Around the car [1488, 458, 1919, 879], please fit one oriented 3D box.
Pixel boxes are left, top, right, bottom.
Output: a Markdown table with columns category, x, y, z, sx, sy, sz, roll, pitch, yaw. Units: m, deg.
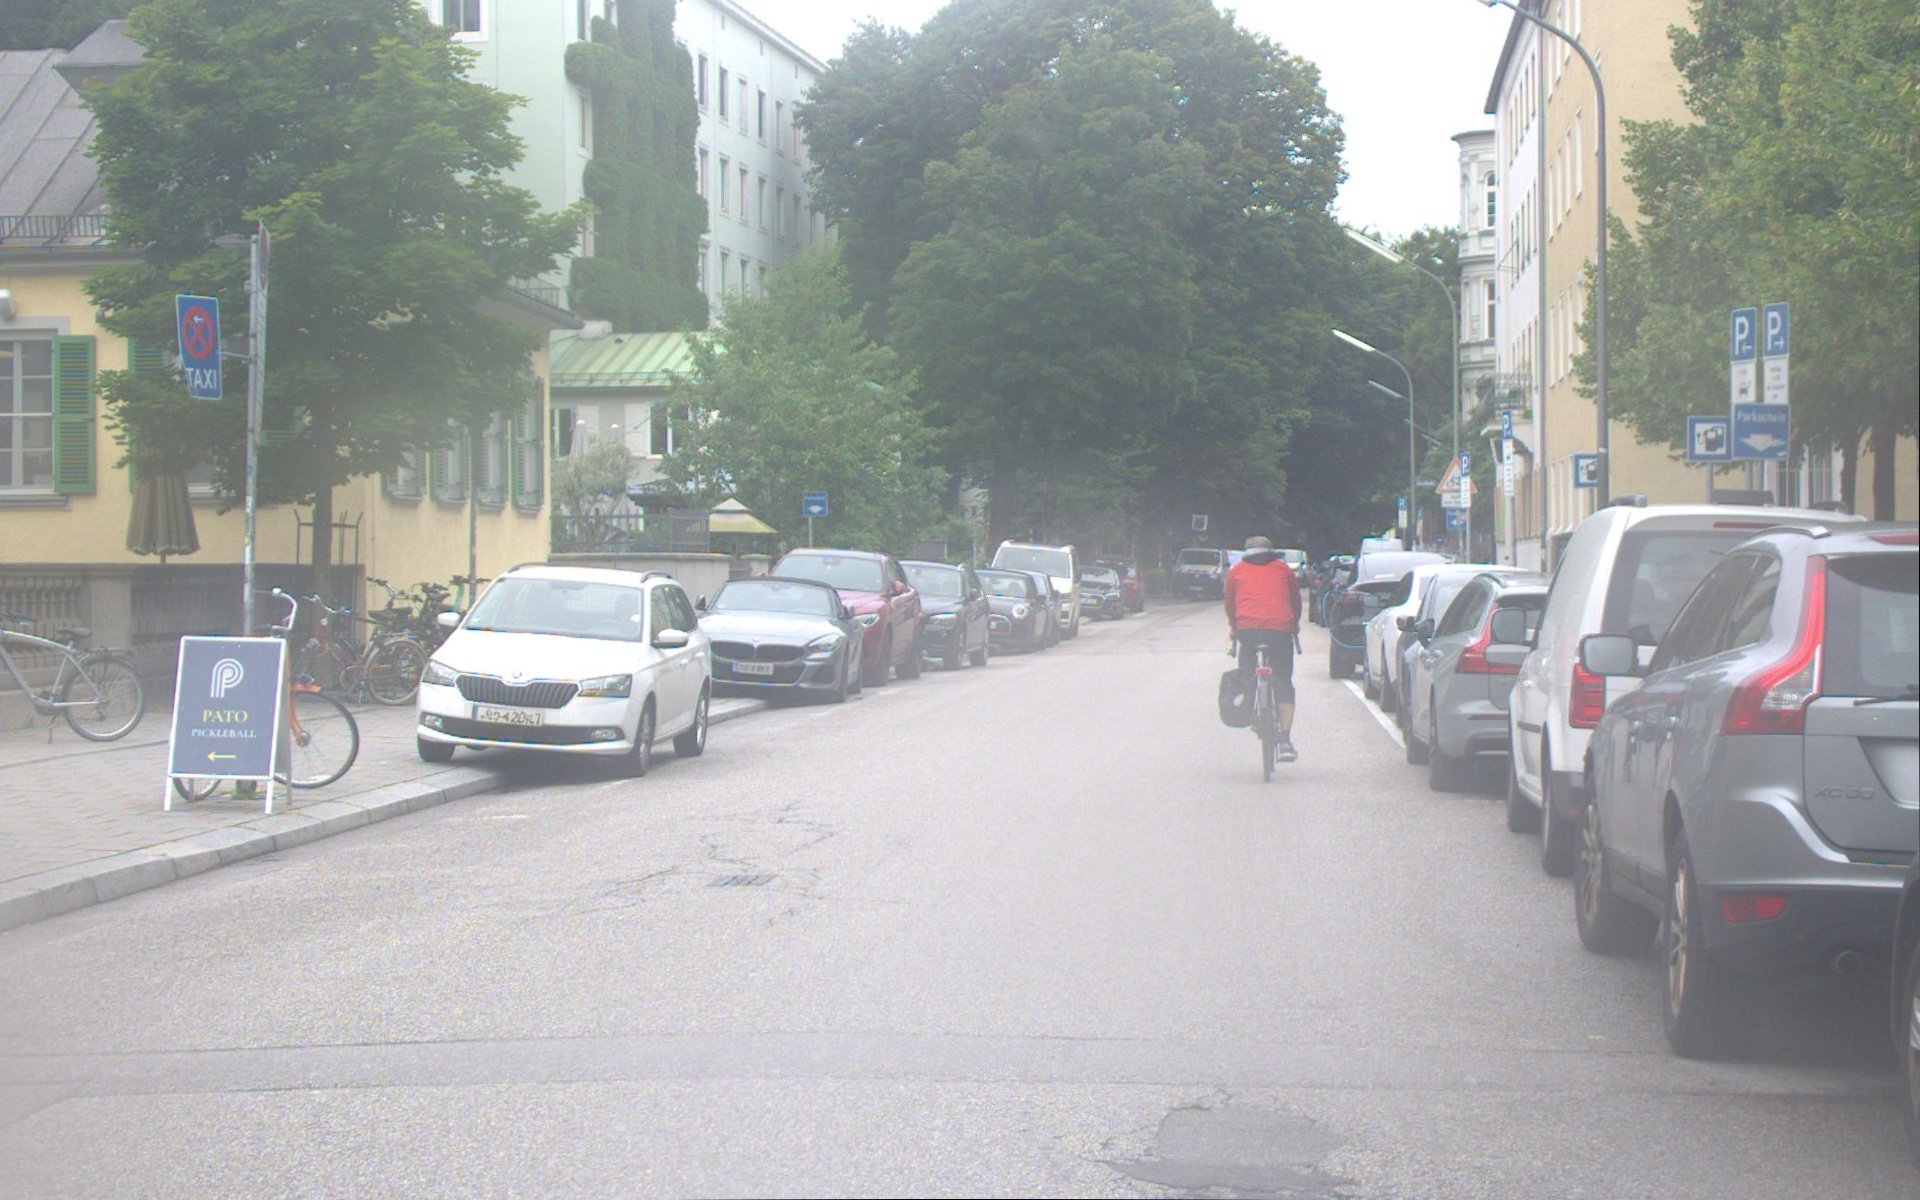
| category | x | y | z | sx | sy | sz | roll | pitch | yaw |
| --- | --- | --- | --- | --- | --- | --- | --- | --- | --- |
| car | 3.770 | 0.277 | 17.972 | 1.750 | 1.936 | 4.227 | 0 | 1 | 5 |

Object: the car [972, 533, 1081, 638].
| category | x | y | z | sx | sy | sz | roll | pitch | yaw |
| --- | --- | --- | --- | --- | --- | --- | --- | --- | --- |
| car | 1.387 | -0.331 | 70.104 | 1.994 | 2.072 | 4.000 | 0 | 1 | 4 |

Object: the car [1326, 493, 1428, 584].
| category | x | y | z | sx | sy | sz | roll | pitch | yaw |
| --- | --- | --- | --- | --- | --- | --- | --- | --- | --- |
| car | 9.732 | -1.438 | 80.443 | 1.994 | 2.053 | 4.623 | 0 | 1 | 2 |

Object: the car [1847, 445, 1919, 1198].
| category | x | y | z | sx | sy | sz | roll | pitch | yaw |
| --- | --- | --- | --- | --- | --- | --- | --- | --- | --- |
| car | 3.162 | 0.569 | 6.960 | 1.760 | 1.817 | 4.139 | 1 | 1 | 2 |

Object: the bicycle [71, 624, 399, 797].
| category | x | y | z | sx | sy | sz | roll | pitch | yaw |
| --- | --- | --- | --- | --- | --- | --- | --- | --- | --- |
| bicycle | -4.542 | 0.672 | 21.697 | 0.623 | 1.001 | 2.136 | 4 | 2 | 35 |

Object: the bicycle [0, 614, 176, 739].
| category | x | y | z | sx | sy | sz | roll | pitch | yaw |
| --- | --- | --- | --- | --- | --- | --- | --- | --- | --- |
| bicycle | -6.827 | 0.573 | 26.115 | 1.613 | 0.922 | 0.651 | 0 | -1 | -22 |

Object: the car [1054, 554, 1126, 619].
| category | x | y | z | sx | sy | sz | roll | pitch | yaw |
| --- | --- | --- | --- | --- | --- | --- | --- | --- | --- |
| car | 3.525 | -0.388 | 92.799 | 1.810 | 1.677 | 4.000 | 0 | 1 | 4 |

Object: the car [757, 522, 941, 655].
| category | x | y | z | sx | sy | sz | roll | pitch | yaw |
| --- | --- | --- | --- | --- | --- | --- | --- | --- | --- |
| car | -1.362 | -0.144 | 43.751 | 1.994 | 1.597 | 3.999 | 0 | 0 | 3 |

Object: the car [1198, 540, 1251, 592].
| category | x | y | z | sx | sy | sz | roll | pitch | yaw |
| --- | --- | --- | --- | --- | --- | --- | --- | --- | --- |
| car | 10.923 | -1.398 | 141.759 | 1.994 | 2.007 | 3.999 | 3 | 0 | 6 |

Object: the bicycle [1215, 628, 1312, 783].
| category | x | y | z | sx | sy | sz | roll | pitch | yaw |
| --- | --- | --- | --- | --- | --- | --- | --- | --- | --- |
| bicycle | 2.053 | 0.694 | 23.349 | 0.621 | 1.001 | 2.140 | 0 | 0 | 5 |

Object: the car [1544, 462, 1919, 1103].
| category | x | y | z | sx | sy | sz | roll | pitch | yaw |
| --- | --- | --- | --- | --- | --- | --- | --- | --- | --- |
| car | 3.147 | 0.463 | 11.788 | 1.863 | 1.787 | 4.509 | 0 | 1 | 5 |

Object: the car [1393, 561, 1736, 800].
| category | x | y | z | sx | sy | sz | roll | pitch | yaw |
| --- | --- | --- | --- | --- | --- | --- | --- | --- | --- |
| car | 4.022 | 0.476 | 23.503 | 1.863 | 1.435 | 4.255 | 1 | 1 | 4 |

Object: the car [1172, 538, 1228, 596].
| category | x | y | z | sx | sy | sz | roll | pitch | yaw |
| --- | --- | --- | --- | --- | --- | --- | --- | --- | --- |
| car | 9.086 | -1.272 | 130.290 | 1.994 | 2.091 | 4.000 | 3 | 1 | 4 |

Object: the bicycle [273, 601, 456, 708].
| category | x | y | z | sx | sy | sz | roll | pitch | yaw |
| --- | --- | --- | --- | --- | --- | --- | --- | --- | --- |
| bicycle | -5.683 | 0.511 | 32.814 | 1.613 | 1.001 | 0.624 | 0 | -1 | -22 |

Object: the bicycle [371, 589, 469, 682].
| category | x | y | z | sx | sy | sz | roll | pitch | yaw |
| --- | --- | --- | --- | --- | --- | --- | --- | --- | --- |
| bicycle | -5.958 | 0.387 | 38.001 | 0.622 | 1.001 | 1.618 | 0 | 0 | 8 |

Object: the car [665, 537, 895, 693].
| category | x | y | z | sx | sy | sz | roll | pitch | yaw |
| --- | --- | --- | --- | --- | --- | --- | --- | --- | --- |
| car | -1.954 | 0.121 | 38.702 | 1.994 | 1.643 | 4.655 | 0 | 1 | 5 |

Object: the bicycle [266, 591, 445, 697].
| category | x | y | z | sx | sy | sz | roll | pitch | yaw |
| --- | --- | --- | --- | --- | --- | --- | --- | --- | --- |
| bicycle | -5.999 | 0.433 | 34.118 | 1.613 | 1.001 | 0.623 | -1 | 0 | -33 |

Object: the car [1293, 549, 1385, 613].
| category | x | y | z | sx | sy | sz | roll | pitch | yaw |
| --- | --- | --- | --- | --- | --- | --- | --- | --- | --- |
| car | 9.469 | -0.490 | 86.096 | 1.994 | 1.546 | 4.000 | 0 | 1 | 2 |

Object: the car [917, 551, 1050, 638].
| category | x | y | z | sx | sy | sz | roll | pitch | yaw |
| --- | --- | --- | --- | --- | --- | --- | --- | --- | --- |
| car | 0.460 | -0.116 | 61.555 | 1.994 | 1.481 | 3.999 | 0 | 1 | 6 |

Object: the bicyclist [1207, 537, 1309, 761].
| category | x | y | z | sx | sy | sz | roll | pitch | yaw |
| --- | --- | --- | --- | --- | --- | --- | --- | --- | --- |
| bicyclist | 2.024 | 0.333 | 23.421 | 0.672 | 1.492 | 1.094 | 0 | -1 | 4 |

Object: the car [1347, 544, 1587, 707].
| category | x | y | z | sx | sy | sz | roll | pitch | yaw |
| --- | --- | --- | --- | --- | --- | --- | --- | --- | --- |
| car | 5.091 | 0.209 | 34.978 | 1.994 | 1.546 | 4.000 | 0 | 1 | 2 |

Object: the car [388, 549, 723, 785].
| category | x | y | z | sx | sy | sz | roll | pitch | yaw |
| --- | --- | --- | --- | --- | --- | --- | --- | --- | --- |
| car | -2.990 | 0.442 | 26.147 | 1.734 | 1.576 | 3.787 | 3 | 1 | 5 |

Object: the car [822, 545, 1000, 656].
| category | x | y | z | sx | sy | sz | roll | pitch | yaw |
| --- | --- | --- | --- | --- | --- | --- | --- | --- | --- |
| car | -0.680 | -0.020 | 50.716 | 1.994 | 1.481 | 3.999 | 2 | 1 | 8 |

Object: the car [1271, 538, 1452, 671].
| category | x | y | z | sx | sy | sz | roll | pitch | yaw |
| --- | --- | --- | --- | --- | --- | --- | --- | --- | --- |
| car | 5.080 | 0.020 | 44.002 | 1.994 | 1.612 | 4.000 | 0 | 1 | 2 |
